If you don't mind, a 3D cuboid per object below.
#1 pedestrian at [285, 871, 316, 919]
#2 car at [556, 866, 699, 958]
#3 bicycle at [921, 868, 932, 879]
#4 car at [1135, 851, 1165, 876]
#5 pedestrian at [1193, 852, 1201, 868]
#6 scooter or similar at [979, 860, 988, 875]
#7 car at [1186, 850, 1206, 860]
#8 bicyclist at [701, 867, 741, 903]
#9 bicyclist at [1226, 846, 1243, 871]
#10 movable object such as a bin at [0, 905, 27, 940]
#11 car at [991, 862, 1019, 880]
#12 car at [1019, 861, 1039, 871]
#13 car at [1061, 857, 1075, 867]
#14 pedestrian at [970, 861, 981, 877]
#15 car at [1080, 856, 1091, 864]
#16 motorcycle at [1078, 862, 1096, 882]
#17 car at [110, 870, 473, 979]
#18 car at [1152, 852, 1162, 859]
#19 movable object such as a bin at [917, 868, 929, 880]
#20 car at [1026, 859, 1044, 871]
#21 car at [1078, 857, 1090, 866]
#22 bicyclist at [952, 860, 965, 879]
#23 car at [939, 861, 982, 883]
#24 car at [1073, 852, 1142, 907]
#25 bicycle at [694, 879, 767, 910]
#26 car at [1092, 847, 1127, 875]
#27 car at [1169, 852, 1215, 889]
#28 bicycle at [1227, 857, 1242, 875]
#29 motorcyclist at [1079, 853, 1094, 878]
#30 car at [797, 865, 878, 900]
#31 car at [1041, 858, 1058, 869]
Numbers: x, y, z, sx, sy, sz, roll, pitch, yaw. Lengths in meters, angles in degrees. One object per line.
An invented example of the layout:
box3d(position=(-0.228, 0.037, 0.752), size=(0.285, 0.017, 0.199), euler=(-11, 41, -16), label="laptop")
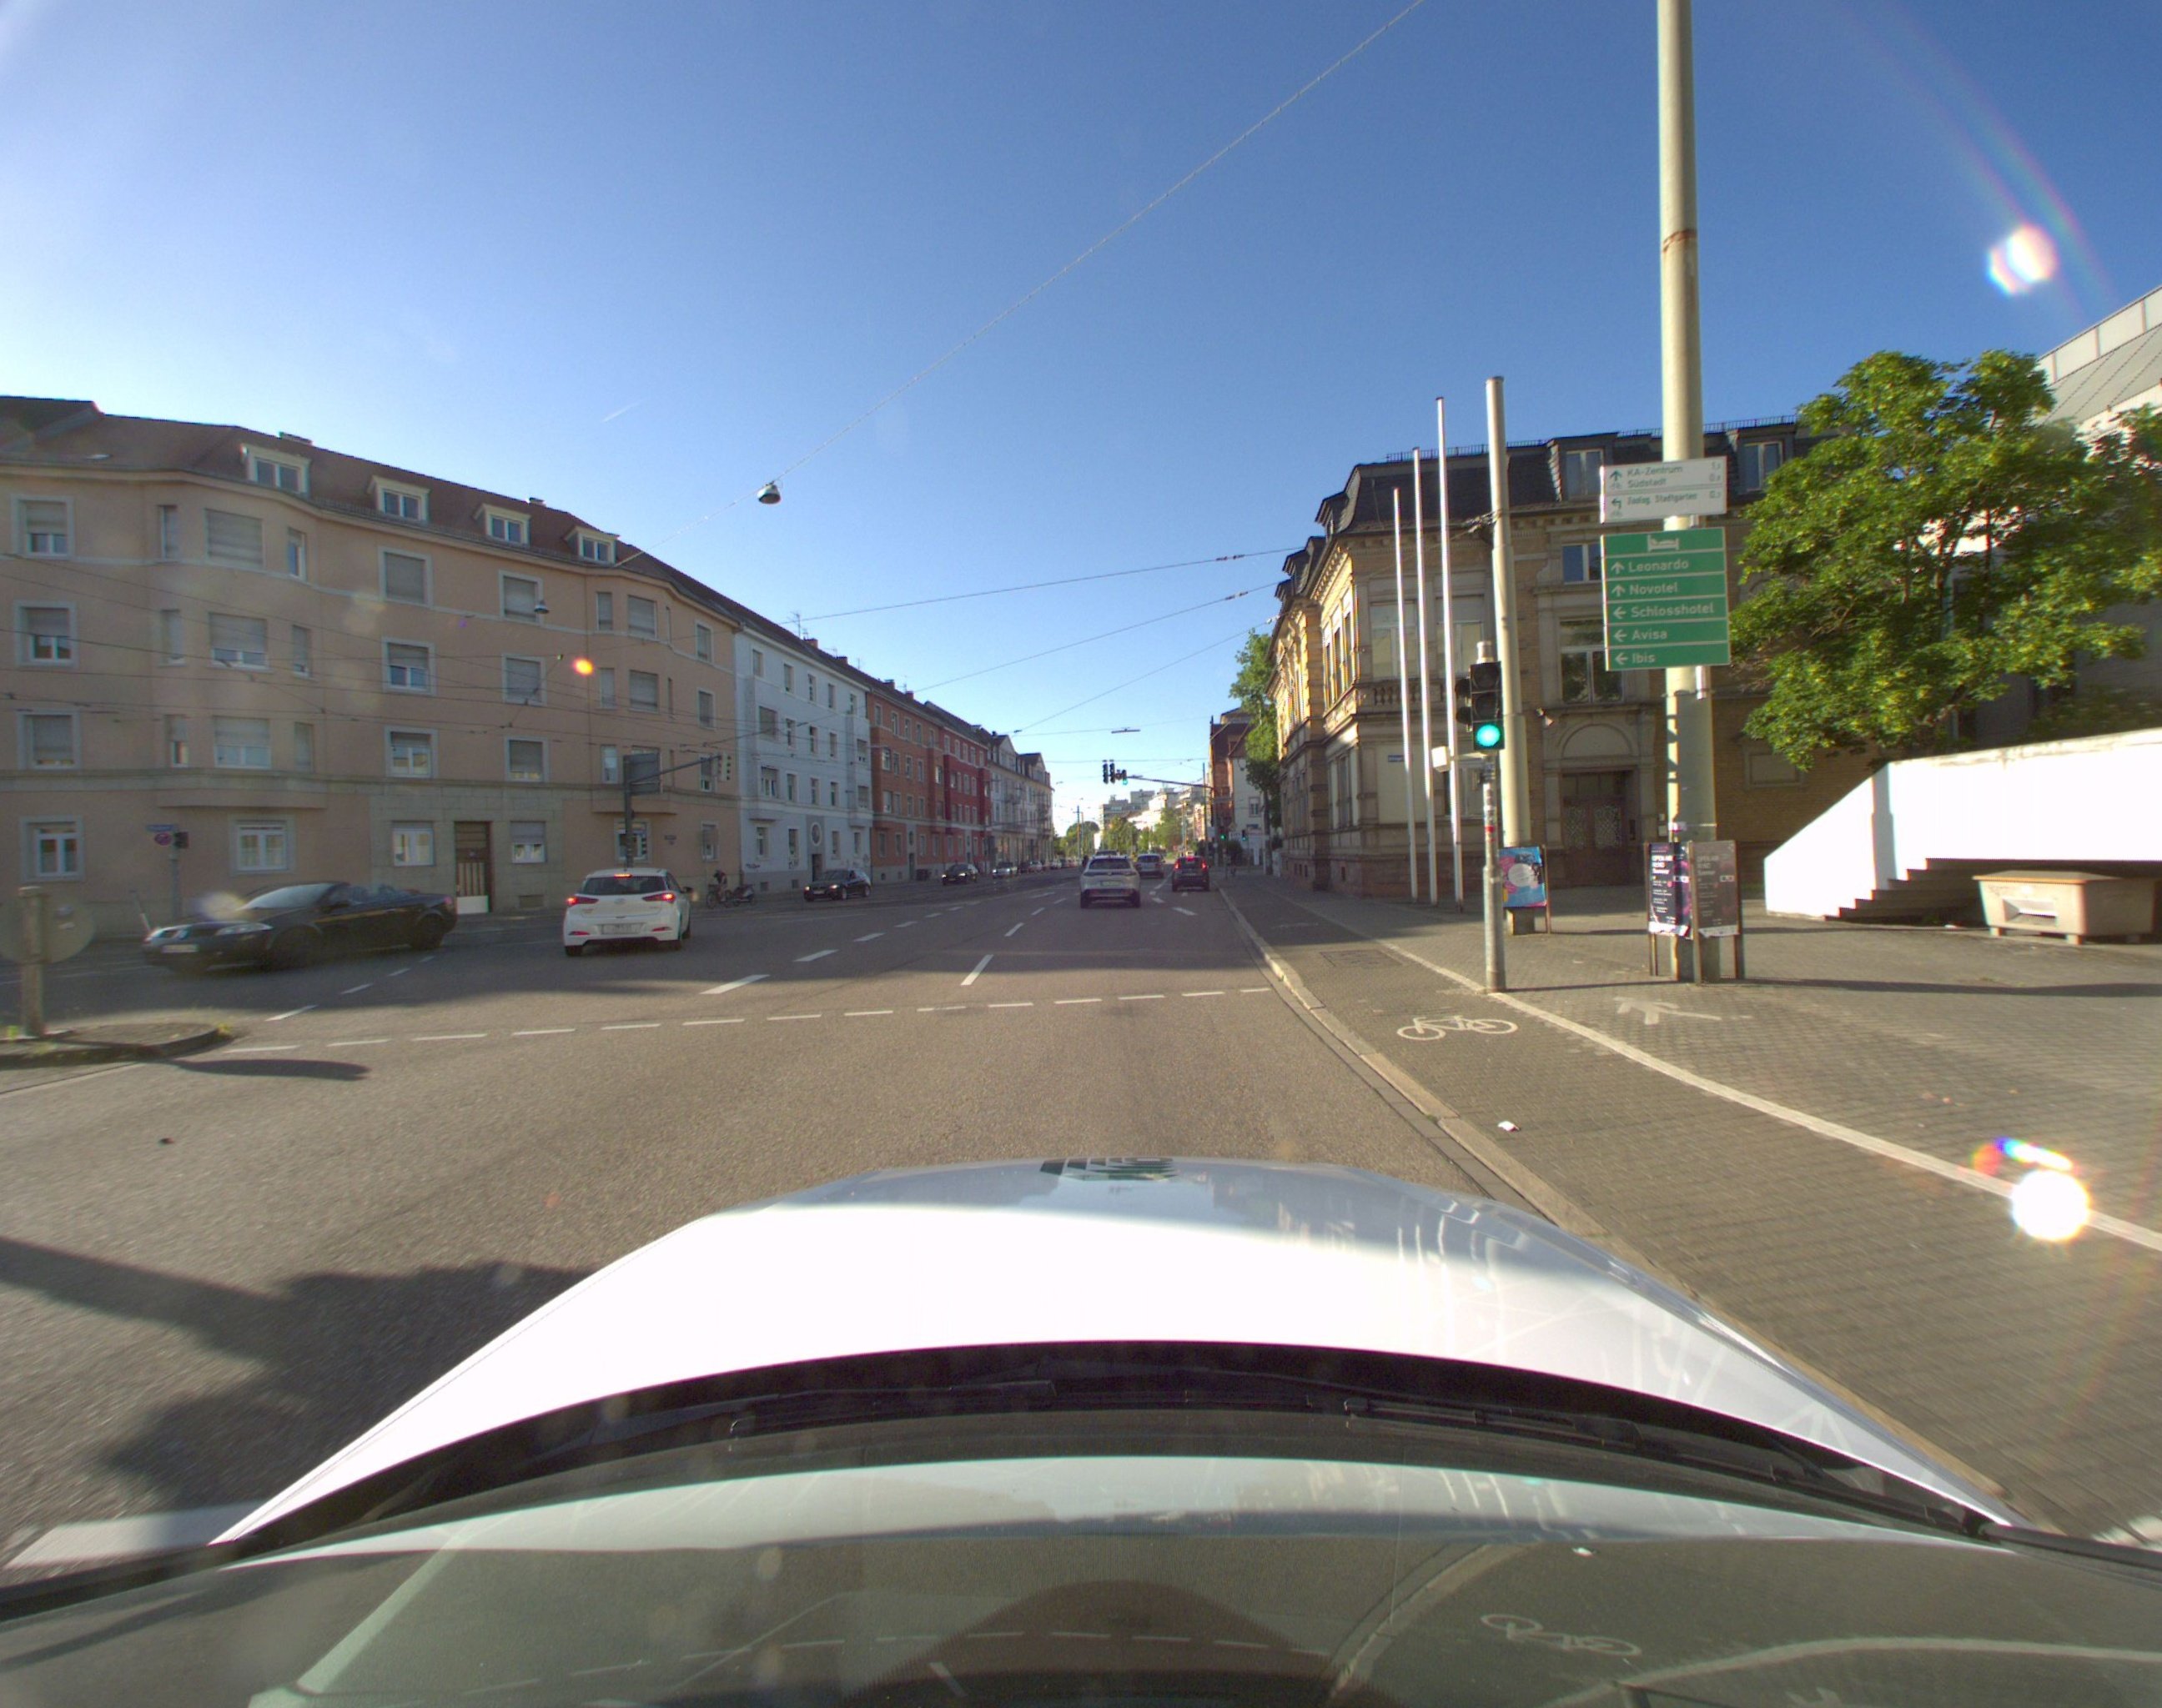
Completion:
box3d(position=(-26.340, 1.362, 27.487), size=(0.669, 1.563, 0.724), euler=(-3, -1, 45), label="pedestrian")
box3d(position=(-8.195, 0.953, 15.065), size=(1.794, 1.394, 4.074), euler=(-2, 0, -22), label="car")
box3d(position=(-13.941, 1.769, 73.397), size=(0.332, 0.890, 1.610), euler=(-2, 0, 12), label="bicycle")
box3d(position=(4.604, 0.621, 54.263), size=(1.805, 1.582, 4.007), euler=(-2, 0, 7), label="car")
box3d(position=(13.867, 0.732, 97.087), size=(0.870, 1.824, 1.187), euler=(-2, -1, 9), label="pedestrian")
box3d(position=(-10.723, 1.471, 89.492), size=(0.656, 1.633, 0.789), euler=(-2, 0, -25), label="scooter or similar")
box3d(position=(26.423, 0.241, 186.974), size=(4.247, 2.014, 1.999), euler=(-2, 0, -2), label="car")
box3d(position=(-14.470, 1.224, 32.789), size=(0.927, 1.382, 1.152), euler=(-2, 0, 12), label="bicyclist")
box3d(position=(9.508, 0.298, 50.475), size=(0.827, 1.525, 0.998), euler=(-2, -1, 18), label="bicyclist")
box3d(position=(-32.916, 2.114, 25.016), size=(0.450, 1.032, 0.480), euler=(-2, -1, -14), label="movable object such as a bin")
box3d(position=(-6.657, 1.486, 72.009), size=(1.717, 1.375, 3.541), euler=(-2, 0, 7), label="car")
box3d(position=(-6.601, 1.527, 104.285), size=(1.709, 1.232, 4.009), euler=(-2, 0, 8), label="car")
box3d(position=(-2.163, 1.277, 137.703), size=(1.709, 1.552, 4.009), euler=(-2, 0, 8), label="car")
box3d(position=(-11.384, 1.624, 87.792), size=(0.834, 1.633, 0.787), euler=(-2, -1, -30), label="pedestrian")
box3d(position=(0.971, 1.193, 167.339), size=(1.709, 1.552, 4.009), euler=(-2, 0, 8), label="car")
box3d(position=(0.361, 1.059, 47.818), size=(0.773, 1.082, 2.286), euler=(-2, 0, 8), label="motorcycle")
box3d(position=(-12.937, 1.054, 13.837), size=(1.817, 1.425, 4.329), euler=(-2, 0, 2), label="car")
box3d(position=(17.199, 0.352, 184.124), size=(1.983, 1.662, 4.505), euler=(-2, 0, 6), label="car")
box3d(position=(-13.926, 1.770, 71.949), size=(0.839, 1.040, 0.812), euler=(-2, -1, 3), label="movable object such as a bin")
box3d(position=(-6.199, 1.435, 109.875), size=(1.709, 1.452, 4.009), euler=(-2, 0, 8), label="car")
box3d(position=(0.558, 1.461, 161.316), size=(1.709, 1.552, 4.009), euler=(-2, 0, 8), label="car")
box3d(position=(-10.557, 1.316, 70.023), size=(0.742, 1.643, 1.128), euler=(-2, -1, 8), label="bicyclist")
box3d(position=(-8.628, 1.261, 58.670), size=(1.912, 1.455, 4.507), euler=(-2, 0, 7), label="car")
box3d(position=(0.900, 0.721, 25.412), size=(1.939, 1.528, 4.094), euler=(-2, 0, 3), label="car")
box3d(position=(-14.309, 1.649, 33.426), size=(0.927, 1.056, 3.366), euler=(-2, 0, 12), label="bicycle")
box3d(position=(2.231, 0.509, 62.028), size=(2.160, 2.009, 4.818), euler=(-2, 0, 8), label="car")
box3d(position=(4.967, 0.681, 36.125), size=(1.720, 1.500, 4.012), euler=(-2, 0, 11), label="car")
box3d(position=(9.506, 0.731, 50.396), size=(0.767, 1.086, 1.874), euler=(-2, 0, 6), label="bicycle")
box3d(position=(0.325, 0.690, 47.675), size=(0.773, 1.423, 0.893), euler=(-2, 0, 7), label="motorcyclist")
box3d(position=(-11.215, 1.275, 37.866), size=(1.983, 1.392, 4.569), euler=(-2, 0, 6), label="car")
box3d(position=(-4.659, 1.389, 121.525), size=(1.825, 1.552, 4.283), euler=(-2, 0, 8), label="car")
